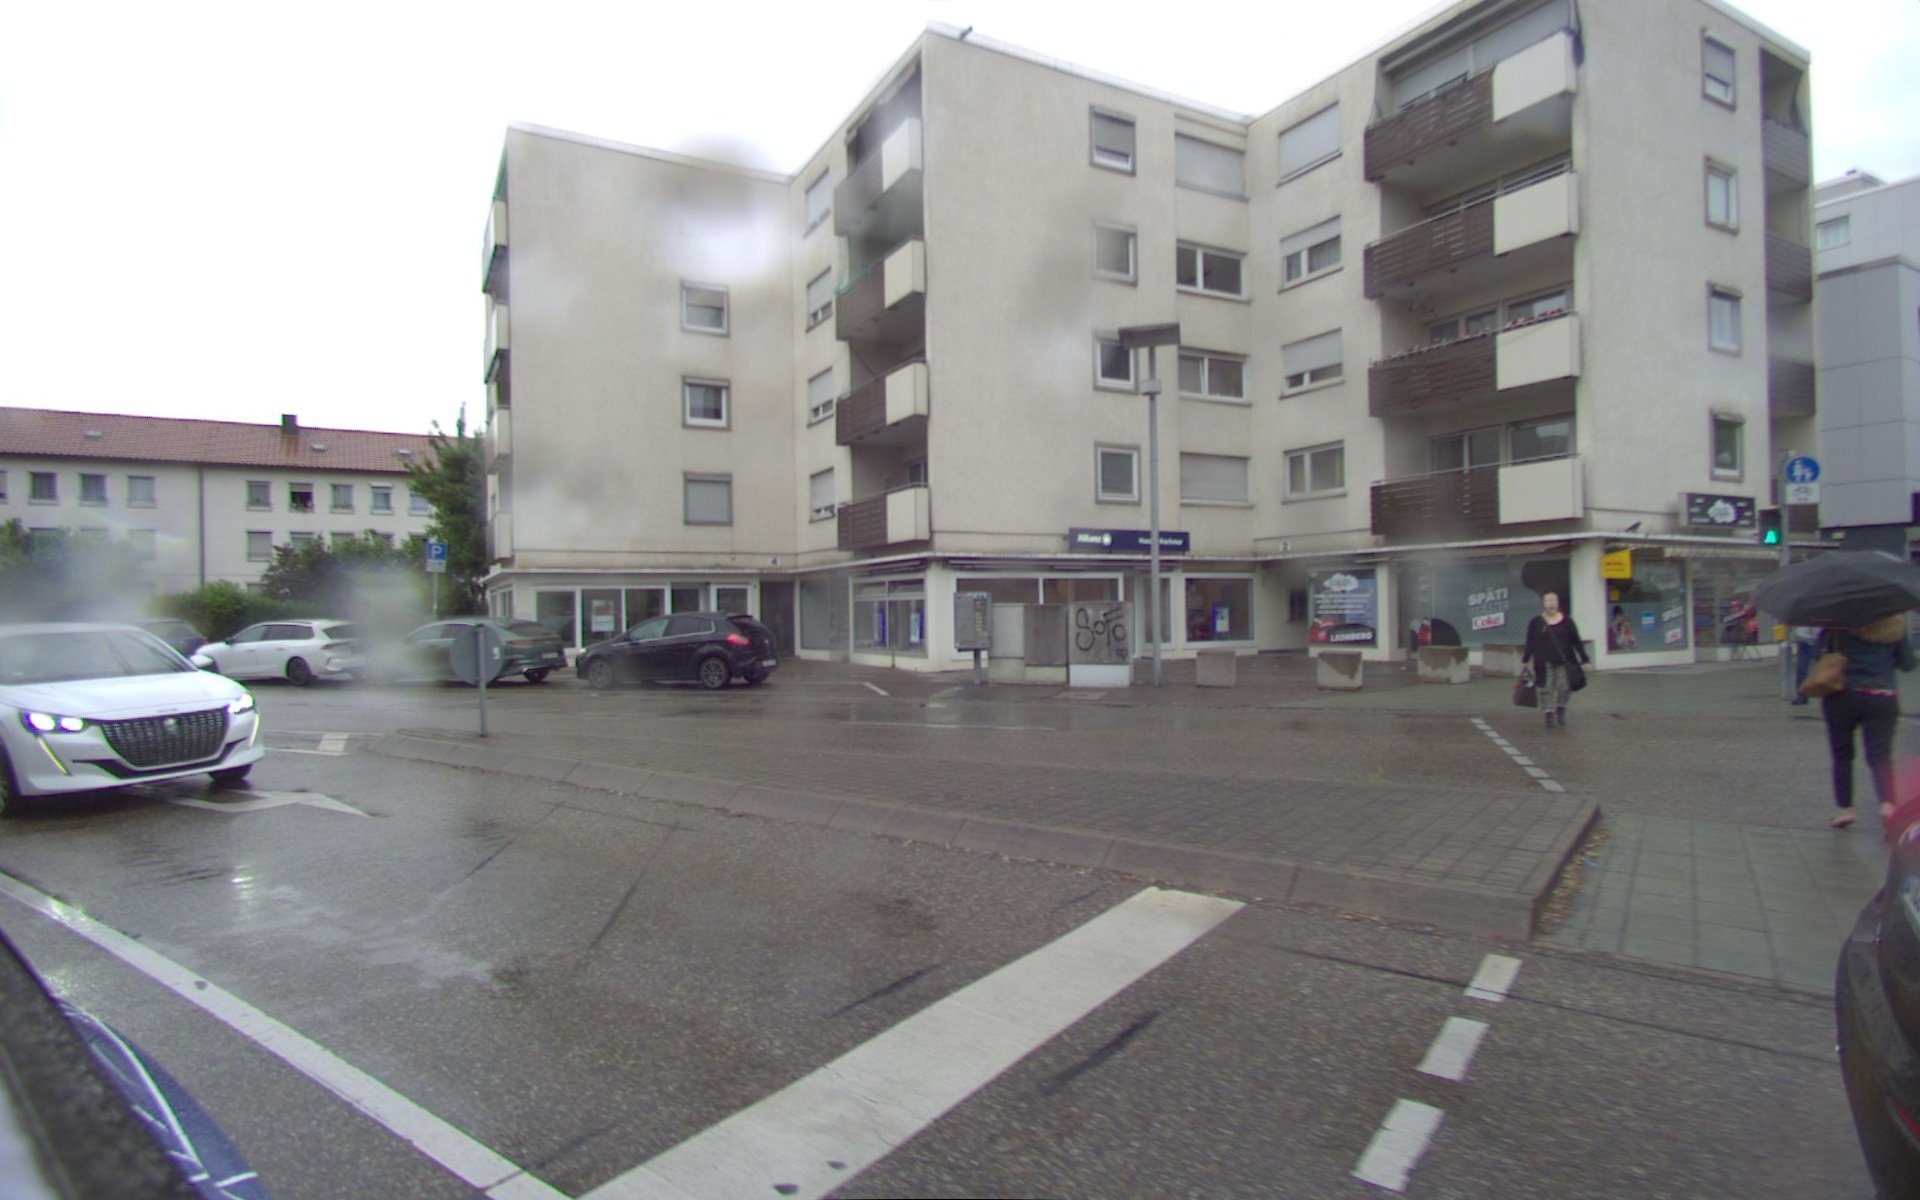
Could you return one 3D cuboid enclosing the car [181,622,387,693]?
[{"bbox_3d":[-15.621,1.293,23.405,4.309,1.511,1.628,-1,-1,17],"label":"car"}]

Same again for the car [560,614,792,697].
[{"bbox_3d":[-5.645,1.064,20.209,4.152,1.471,1.827,-1,1,17],"label":"car"}]

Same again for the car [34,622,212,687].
[{"bbox_3d":[-20.867,1.331,25.249,3.848,1.517,1.625,-1,-1,18],"label":"car"}]

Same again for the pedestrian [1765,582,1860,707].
[{"bbox_3d":[11.838,0.595,14.058,0.702,1.668,0.817,0,-1,-33],"label":"pedestrian"}]

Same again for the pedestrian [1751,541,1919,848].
[{"bbox_3d":[5.606,0.545,6.257,0.823,1.749,0.956,1,-1,-39],"label":"pedestrian"}]

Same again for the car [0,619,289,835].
[{"bbox_3d":[-7.786,0.953,8.759,3.880,1.420,1.727,-2,1,30],"label":"car"}]

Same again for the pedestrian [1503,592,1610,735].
[{"bbox_3d":[6.982,0.720,11.862,0.647,1.597,0.914,0,-1,-44],"label":"pedestrian"}]

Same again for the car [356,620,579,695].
[{"bbox_3d":[-10.612,1.204,21.866,4.236,1.445,1.828,-1,1,17],"label":"car"}]

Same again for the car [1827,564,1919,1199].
[{"bbox_3d":[3.426,0.615,0.727,4.087,1.492,1.648,-3,0,37],"label":"car"}]
